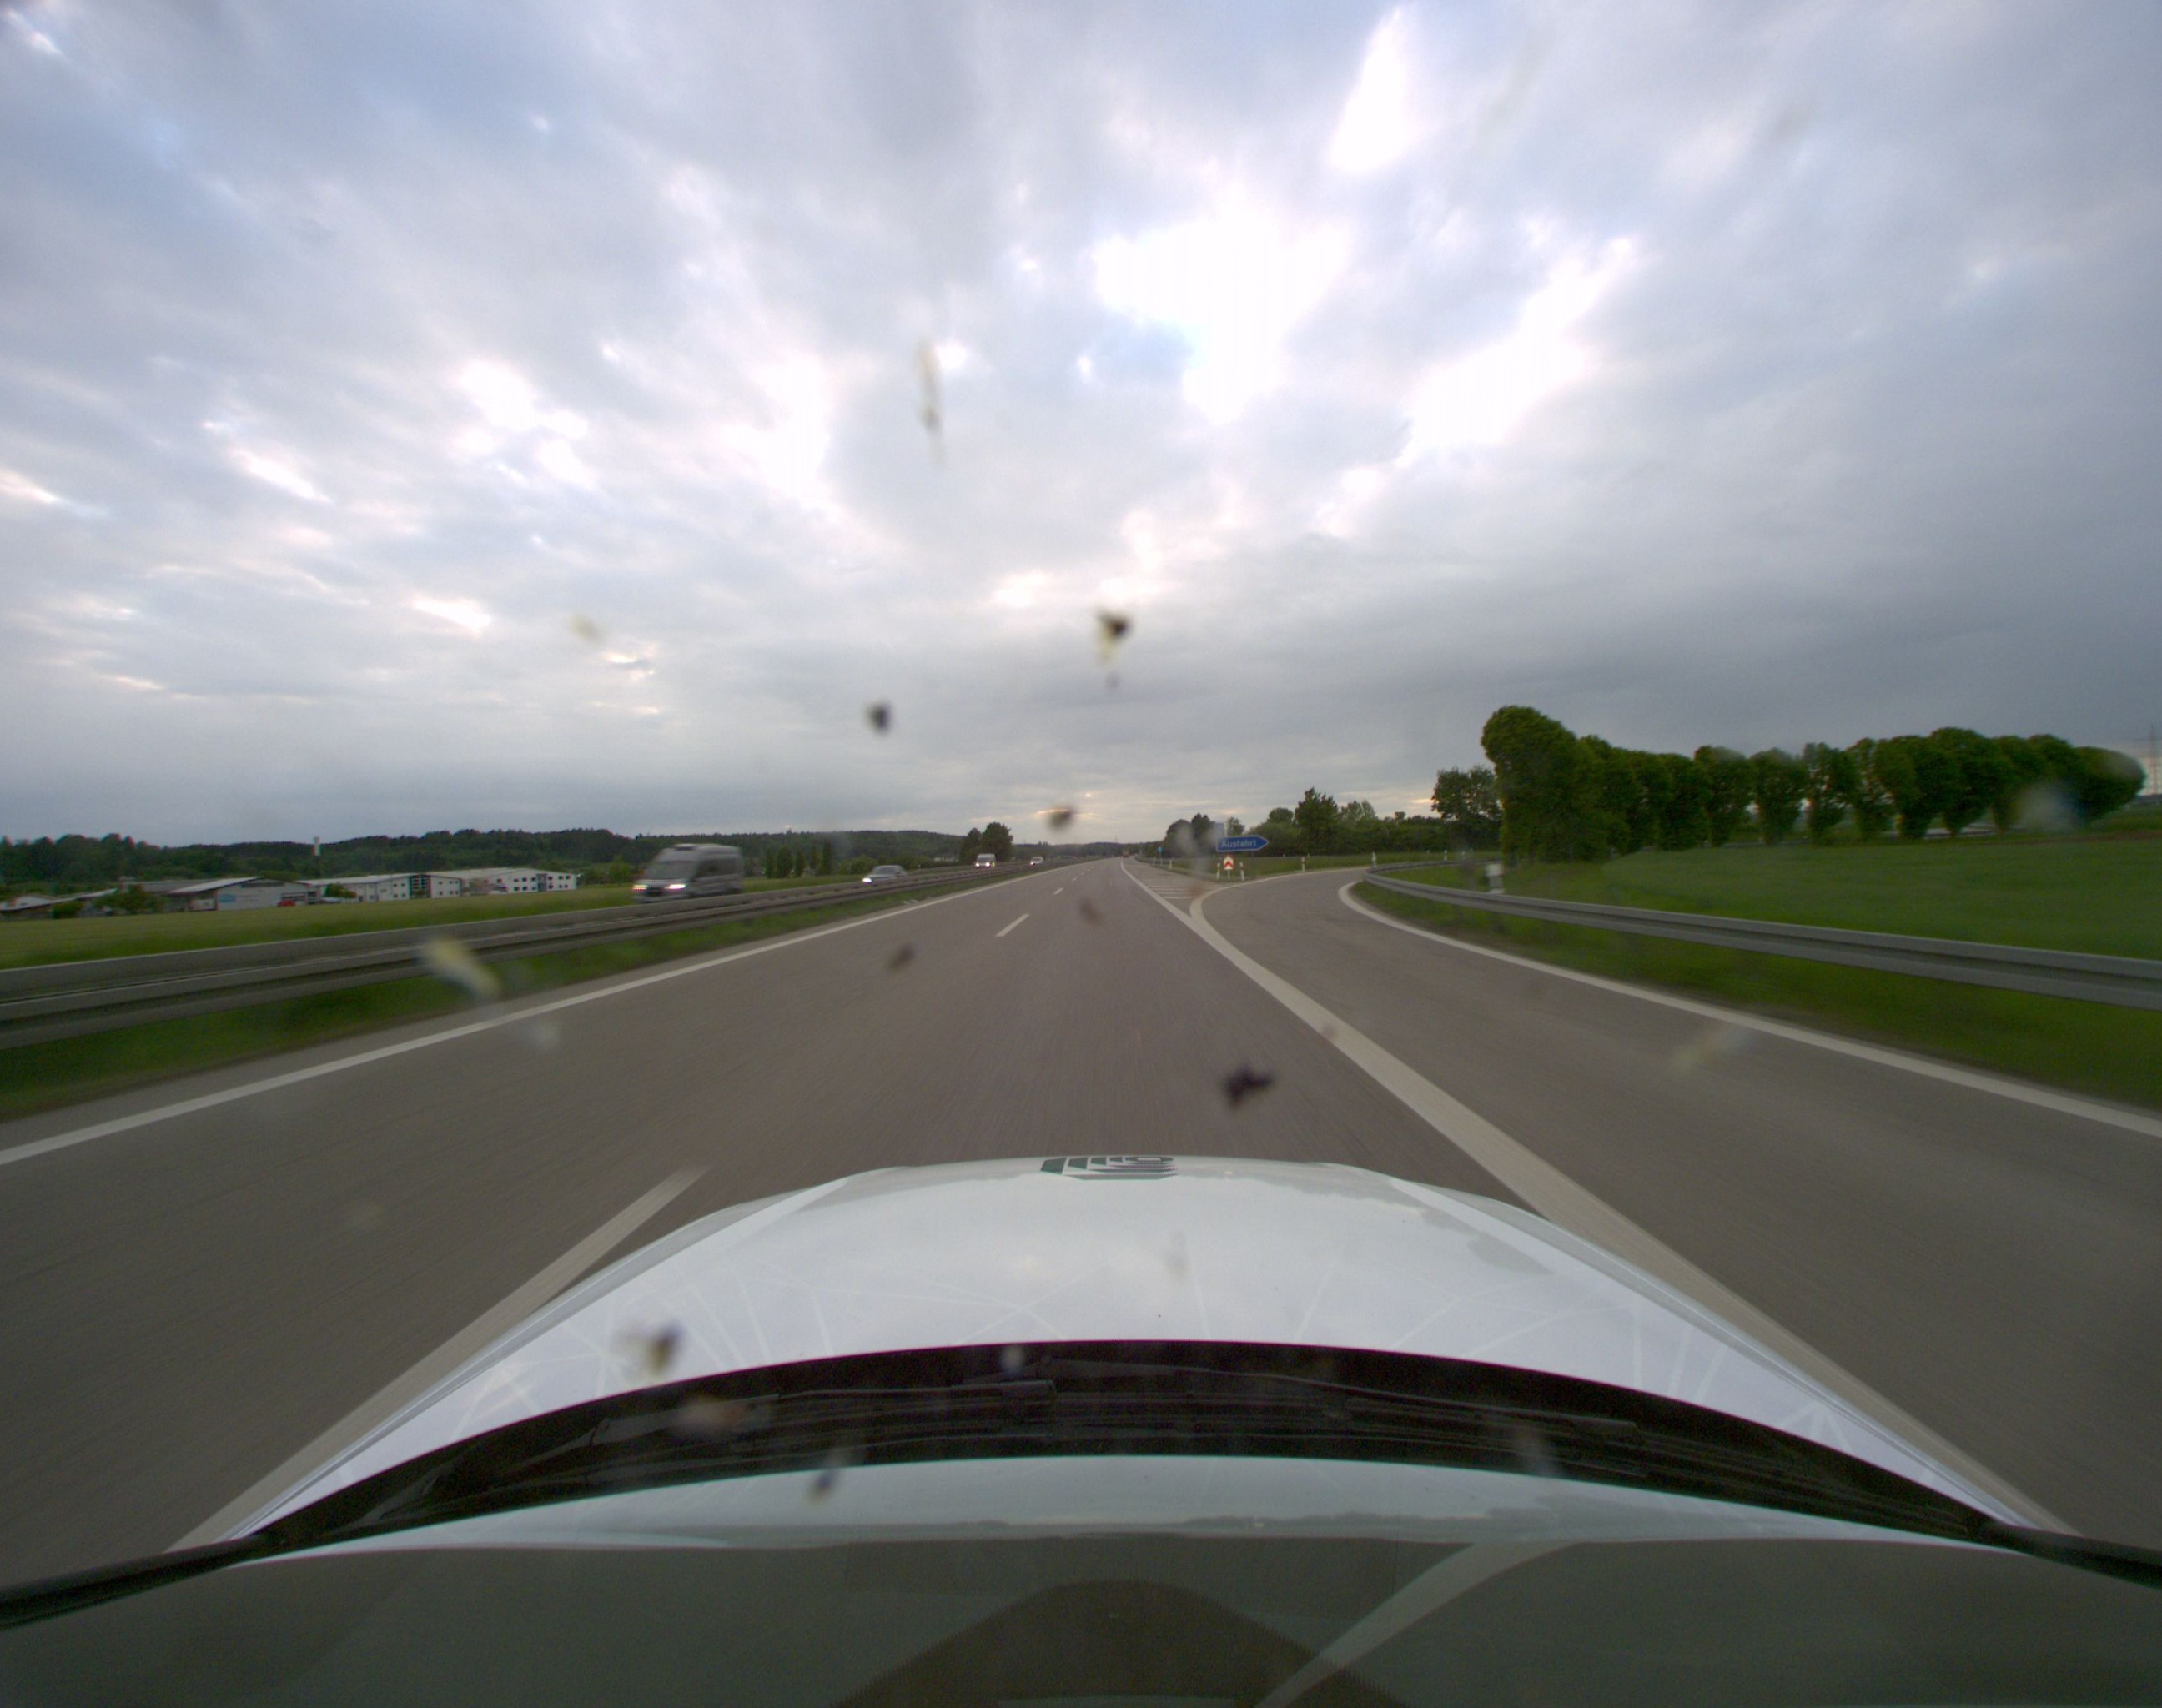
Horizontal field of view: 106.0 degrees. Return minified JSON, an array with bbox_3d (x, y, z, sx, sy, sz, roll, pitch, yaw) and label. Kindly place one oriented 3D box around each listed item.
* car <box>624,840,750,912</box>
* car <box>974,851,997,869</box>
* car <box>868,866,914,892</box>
[{"bbox_3d":[-16.692,0.861,34.993,2.098,2.800,6.430,-1,0,2],"label":"car"},{"bbox_3d":[-13.507,0.845,115.474,2.137,2.483,6.592,-1,0,2],"label":"car"},{"bbox_3d":[-11.722,1.522,50.427,1.740,1.508,4.202,-1,0,2],"label":"car"}]
